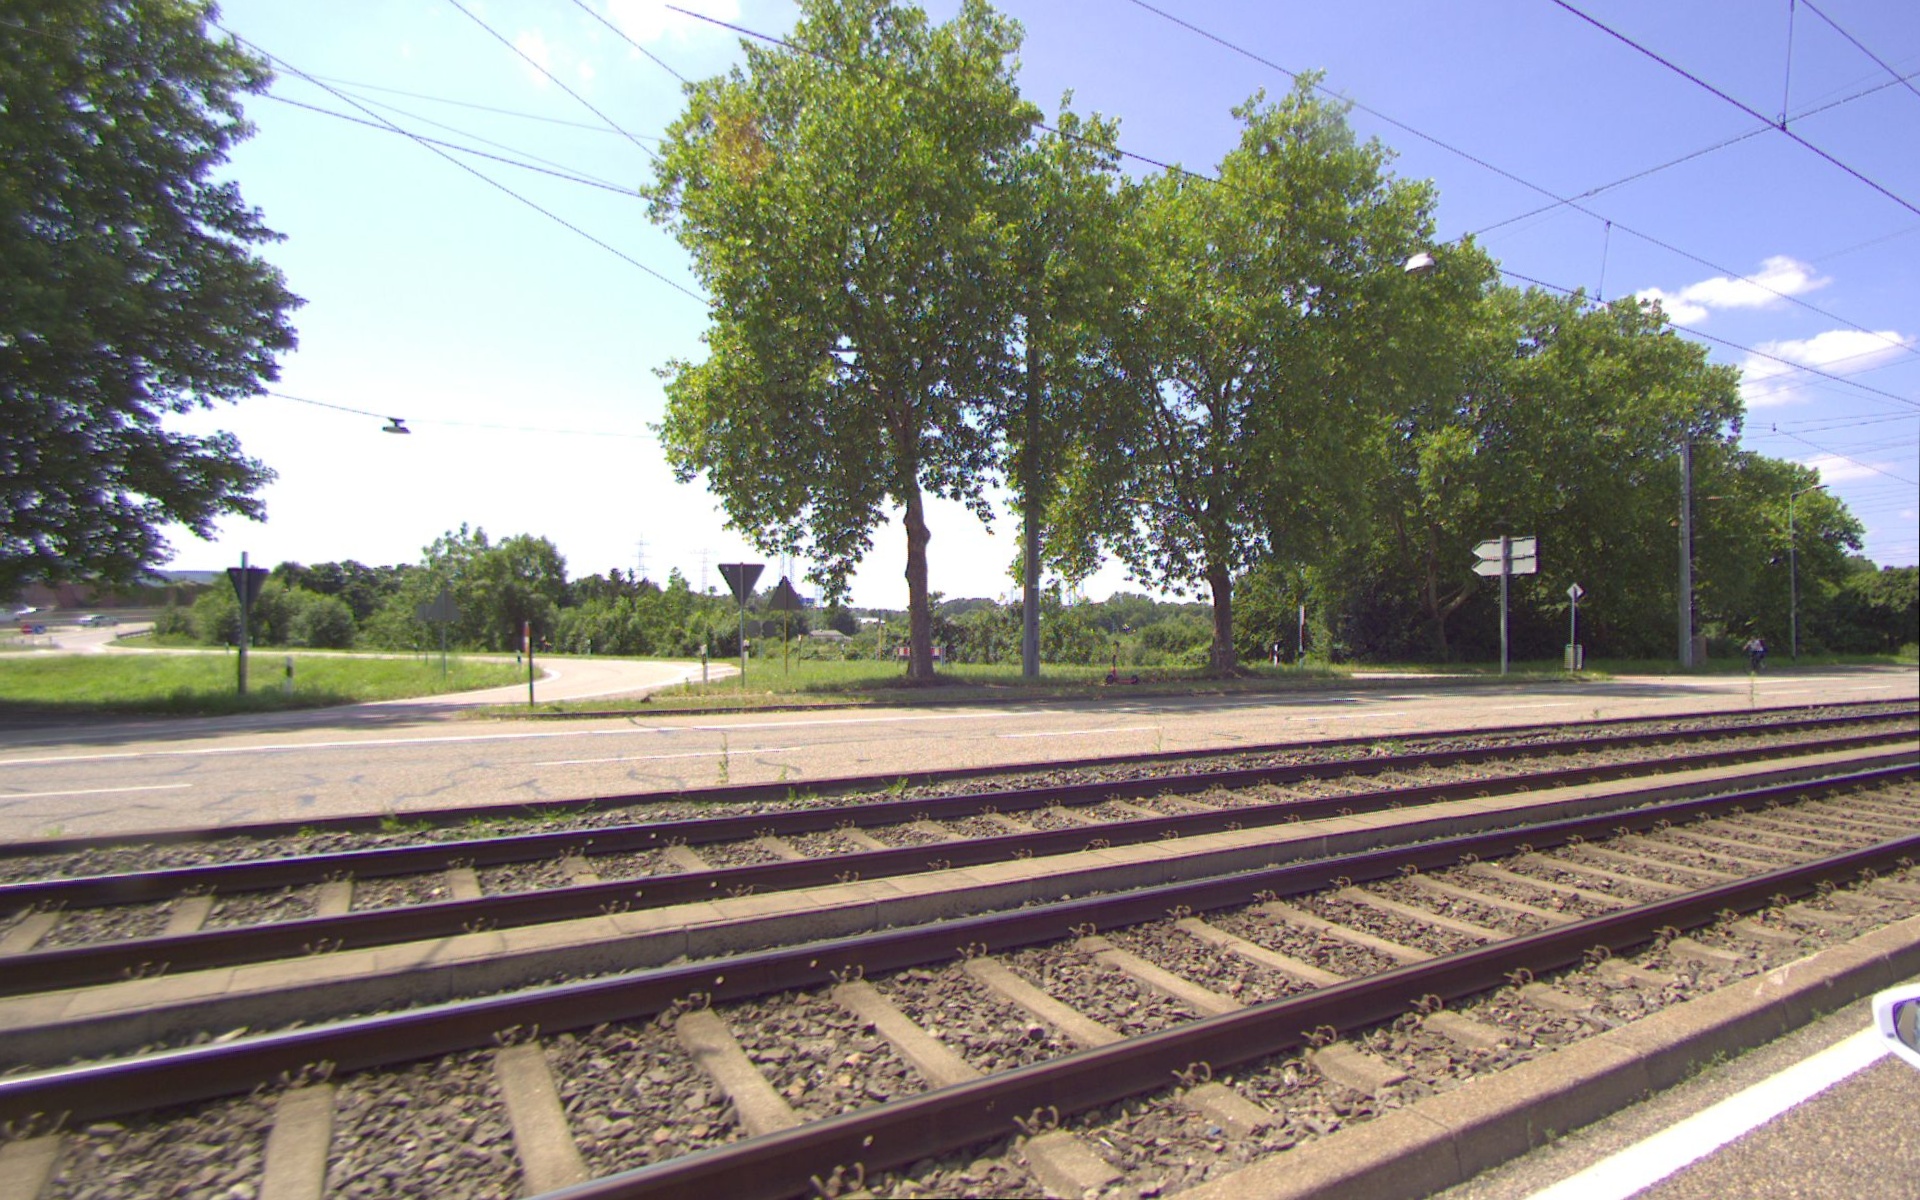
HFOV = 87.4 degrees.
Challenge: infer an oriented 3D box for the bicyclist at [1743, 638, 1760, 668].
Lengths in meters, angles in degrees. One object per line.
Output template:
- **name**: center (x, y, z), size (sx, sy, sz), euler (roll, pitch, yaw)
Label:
- **bicyclist**: center (34.369, 2.280, 43.599), size (0.393, 1.289, 0.452), euler (1, -1, -28)

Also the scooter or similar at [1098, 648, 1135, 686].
- **scooter or similar**: center (4.415, 1.890, 28.298), size (0.982, 1.036, 0.298), euler (1, 2, -23)

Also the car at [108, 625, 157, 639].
- **car**: center (-85.866, 3.285, 104.297), size (1.590, 1.436, 3.628), euler (0, -1, 29)

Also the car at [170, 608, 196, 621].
- **car**: center (-96.066, 1.829, 124.191), size (1.595, 1.549, 3.615), euler (1, -1, -22)

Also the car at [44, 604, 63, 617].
- **car**: center (-107.094, 1.248, 118.681), size (1.607, 1.549, 3.588), euler (1, -1, -43)

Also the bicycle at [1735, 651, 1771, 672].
- **bicycle**: center (34.476, 2.653, 43.647), size (1.907, 0.868, 0.513), euler (1, -1, -28)

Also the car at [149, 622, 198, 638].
- **car**: center (-81.181, 3.090, 103.685), size (1.589, 1.587, 3.630), euler (0, -1, 27)
